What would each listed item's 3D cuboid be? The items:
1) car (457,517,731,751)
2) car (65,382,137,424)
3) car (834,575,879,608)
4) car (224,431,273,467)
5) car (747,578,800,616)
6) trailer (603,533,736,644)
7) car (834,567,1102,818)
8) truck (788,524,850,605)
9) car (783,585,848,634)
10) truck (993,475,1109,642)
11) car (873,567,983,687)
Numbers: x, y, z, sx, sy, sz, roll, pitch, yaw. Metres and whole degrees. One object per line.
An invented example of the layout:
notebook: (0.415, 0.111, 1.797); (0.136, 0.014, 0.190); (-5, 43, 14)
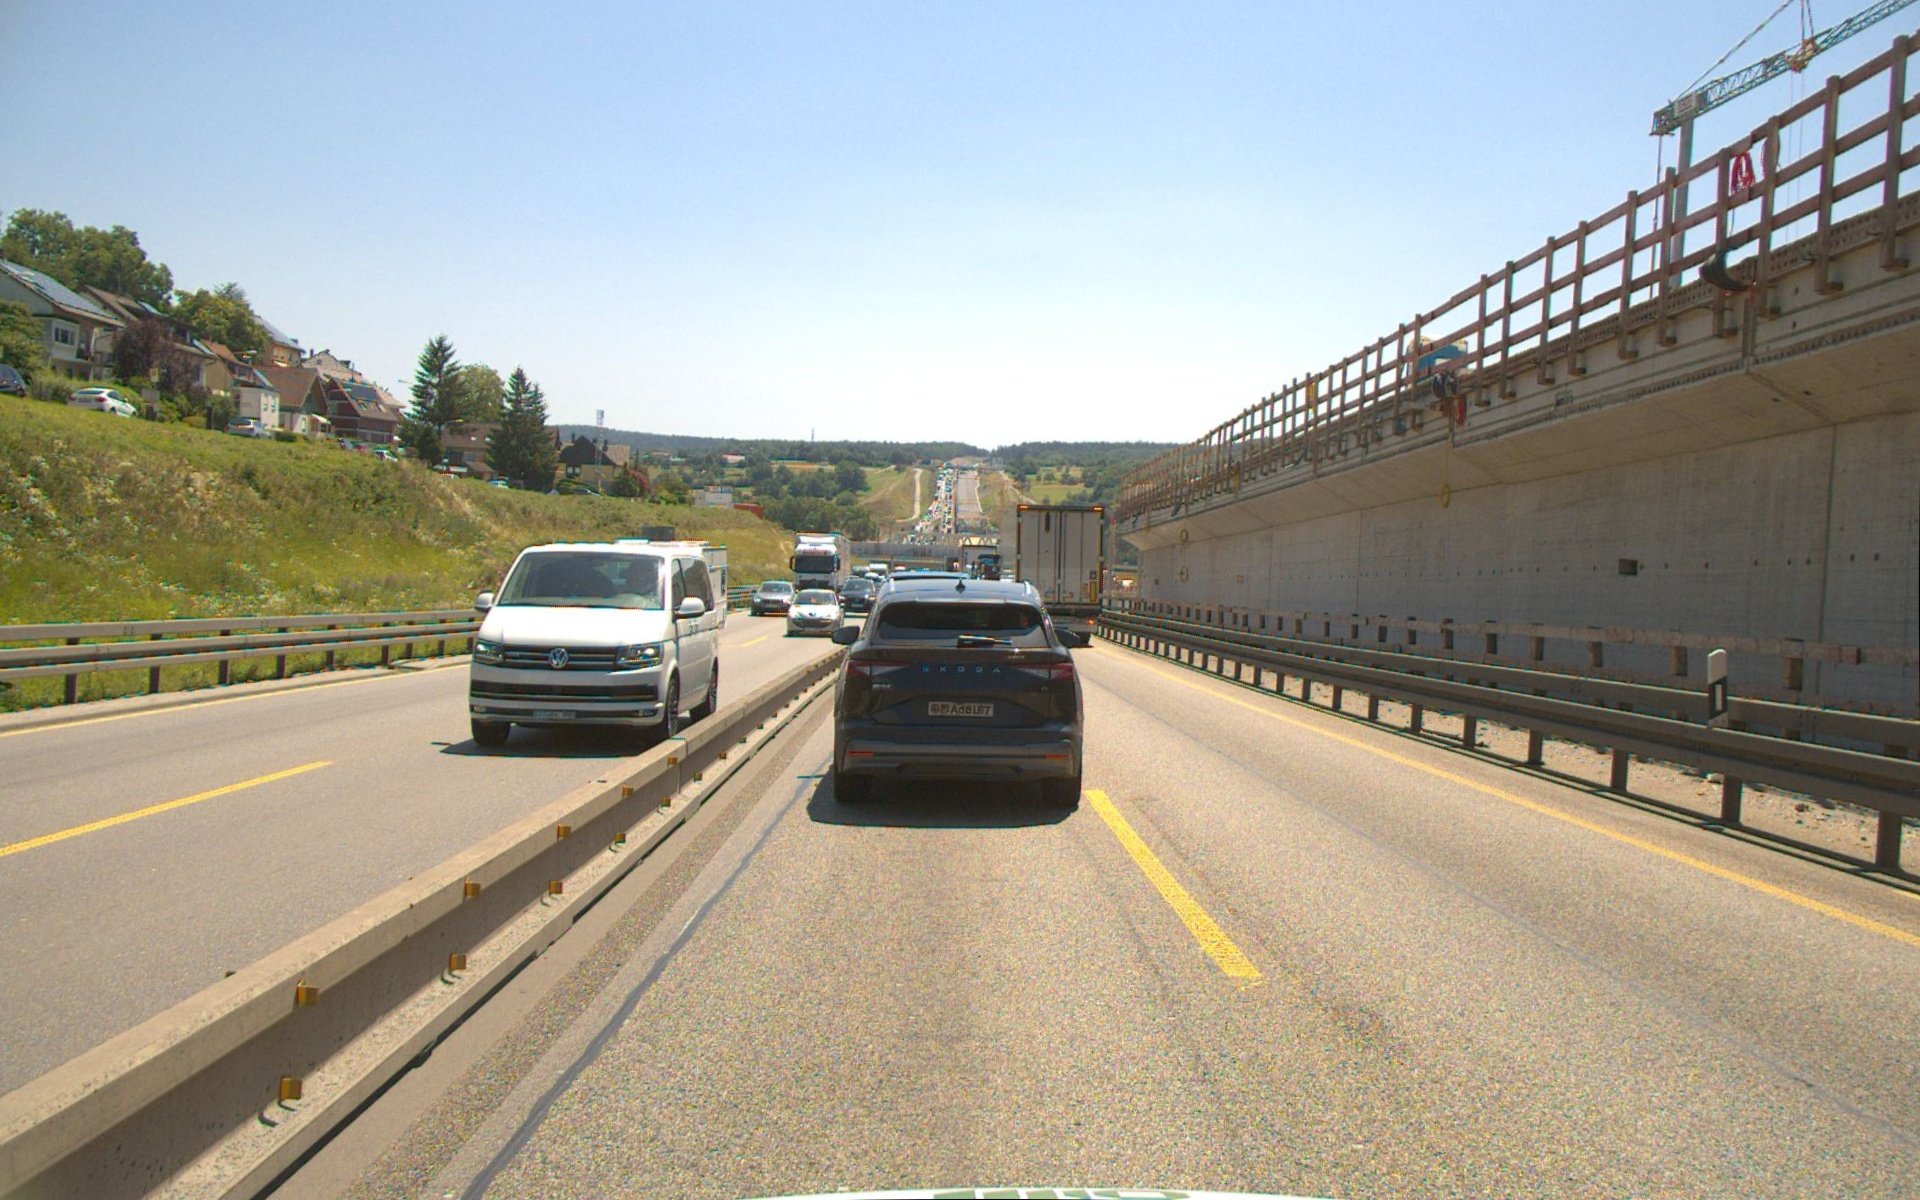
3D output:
car: (-3.596, 0.329, 17.176); (1.825, 2.049, 4.804); (1, -1, -1)
car: (-41.200, -9.424, 79.382); (1.959, 1.342, 3.988); (5, -1, -12)
car: (-4.564, -0.364, 73.582); (1.735, 1.311, 3.999); (2, -1, 0)
car: (-42.621, -9.042, 99.173); (1.891, 1.758, 3.989); (1, 0, -11)
car: (-7.967, -0.106, 70.993); (1.835, 1.467, 3.998); (5, -1, -2)
trailer: (-7.422, -0.241, 42.946); (2.434, 2.659, 5.866); (0, -1, 0)
car: (-0.016, 0.616, 12.857); (1.747, 1.625, 3.753); (1, 0, -2)
truck: (-8.326, -2.030, 98.660); (2.697, 4.300, 8.098); (5, -1, 0)
car: (-4.496, 0.325, 51.924); (1.668, 1.466, 3.999); (0, -1, 0)
truck: (2.742, -1.131, 53.332); (2.788, 4.696, 11.808); (2, -1, -1)
car: (-0.635, 0.456, 29.808); (1.715, 1.928, 3.752); (4, 0, -4)
